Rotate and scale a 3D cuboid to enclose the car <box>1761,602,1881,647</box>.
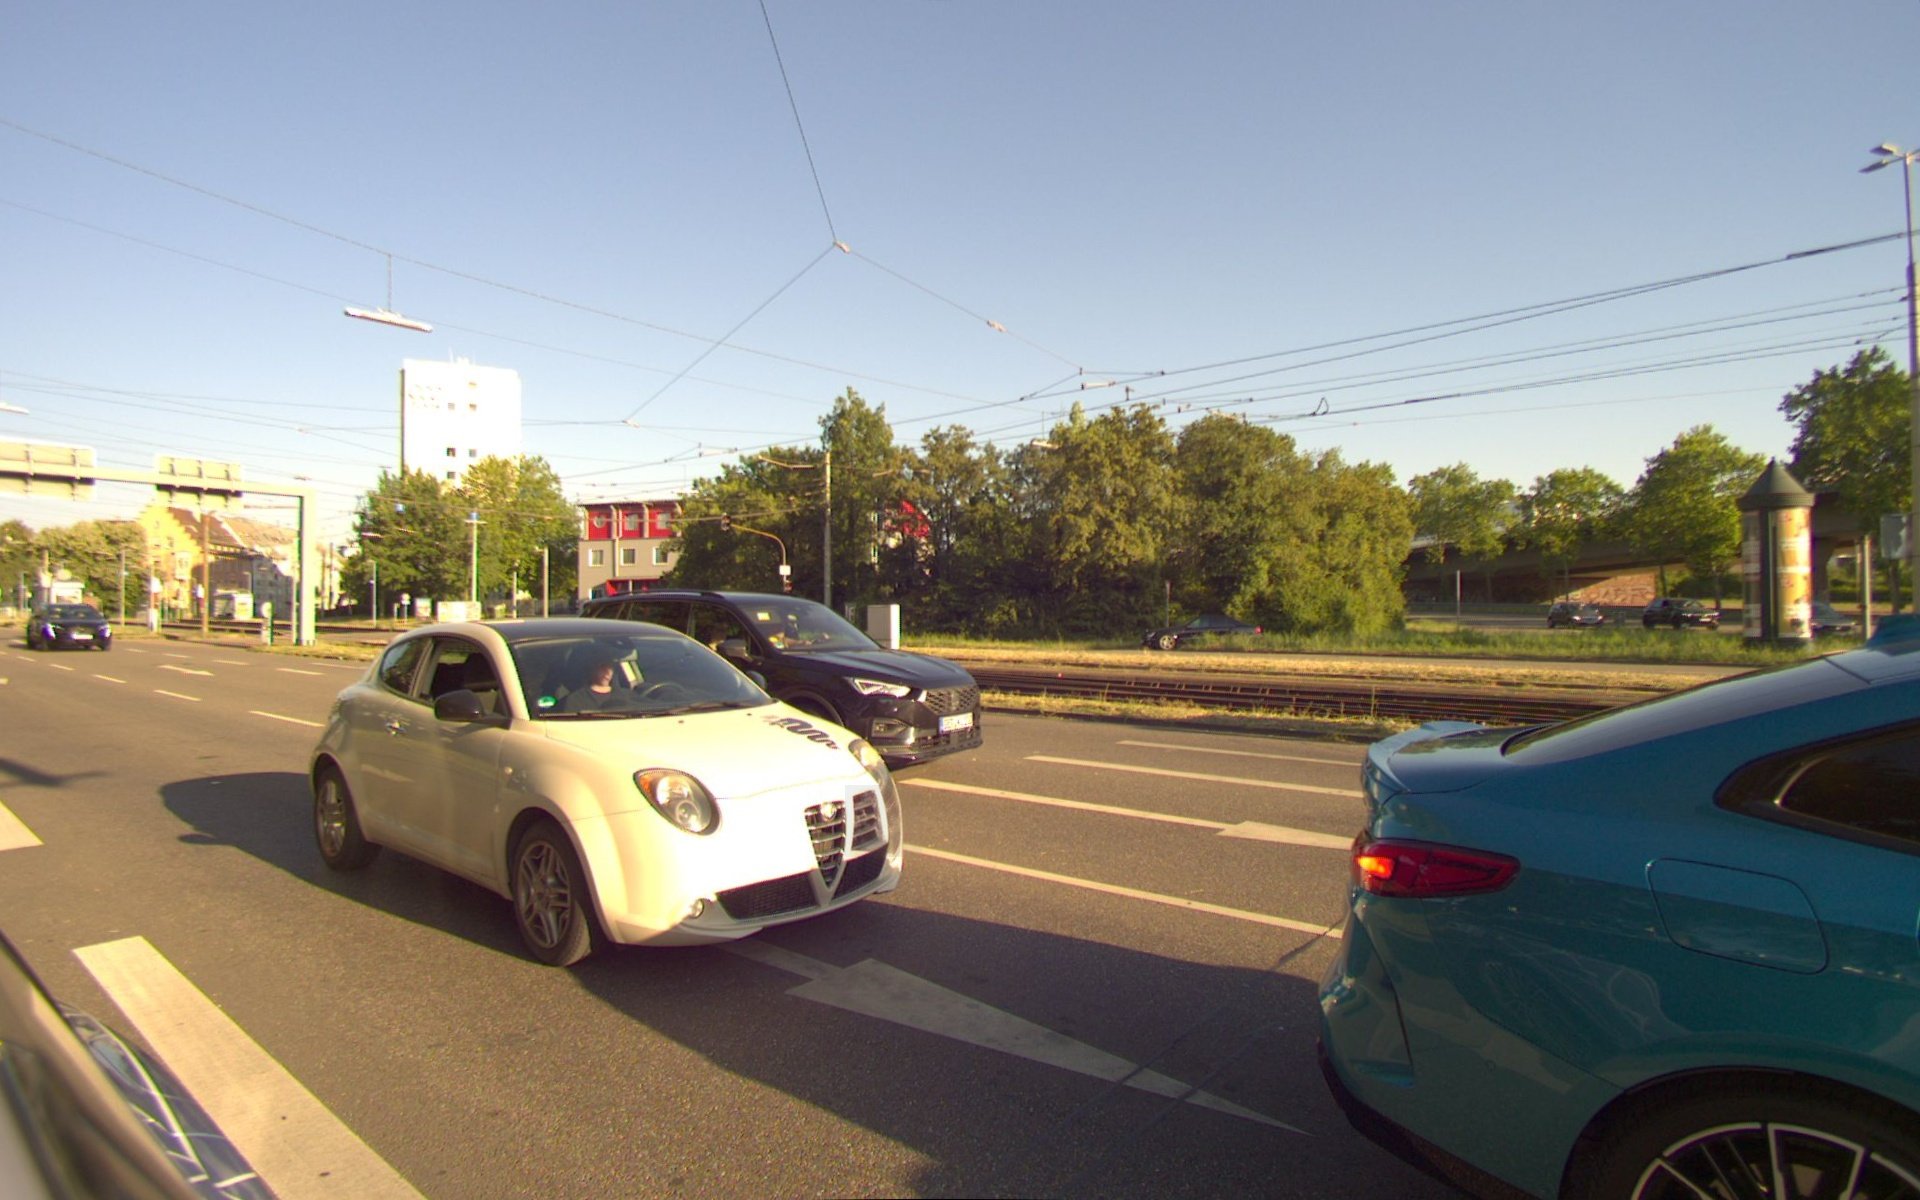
[{"bbox_3d":[34.472,0.957,40.696,1.675,1.691,4.399,-1,-1,11],"label":"car"}]

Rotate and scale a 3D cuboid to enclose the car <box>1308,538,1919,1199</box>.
[{"bbox_3d":[2.888,0.638,1.451,4.201,1.477,1.697,-1,-2,38],"label":"car"}]

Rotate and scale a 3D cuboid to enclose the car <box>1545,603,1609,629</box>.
[{"bbox_3d":[37.096,0.950,60.975,1.702,1.537,3.928,-1,-1,6],"label":"car"}]

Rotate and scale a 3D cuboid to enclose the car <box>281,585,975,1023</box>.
[{"bbox_3d":[-2.005,0.759,5.475,3.997,1.517,1.719,-1,-2,40],"label":"car"}]

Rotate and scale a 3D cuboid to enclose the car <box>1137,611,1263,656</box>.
[{"bbox_3d":[9.485,1.327,40.342,4.701,1.691,1.749,-1,-1,9],"label":"car"}]

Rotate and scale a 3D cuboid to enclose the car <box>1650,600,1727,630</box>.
[{"bbox_3d":[39.721,0.811,55.320,1.606,1.537,4.399,-1,-1,10],"label":"car"}]

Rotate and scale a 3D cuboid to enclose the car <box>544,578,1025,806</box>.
[{"bbox_3d":[-1.814,0.717,9.593,4.614,1.692,1.798,-1,-1,36],"label":"car"}]

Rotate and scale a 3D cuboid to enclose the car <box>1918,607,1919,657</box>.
[{"bbox_3d":[31.538,1.017,30.907,1.680,1.643,4.260,-1,-1,19],"label":"car"}]

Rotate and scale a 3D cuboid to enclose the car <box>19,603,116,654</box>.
[{"bbox_3d":[-31.190,1.007,35.322,4.272,1.675,1.881,-1,-2,40],"label":"car"}]
